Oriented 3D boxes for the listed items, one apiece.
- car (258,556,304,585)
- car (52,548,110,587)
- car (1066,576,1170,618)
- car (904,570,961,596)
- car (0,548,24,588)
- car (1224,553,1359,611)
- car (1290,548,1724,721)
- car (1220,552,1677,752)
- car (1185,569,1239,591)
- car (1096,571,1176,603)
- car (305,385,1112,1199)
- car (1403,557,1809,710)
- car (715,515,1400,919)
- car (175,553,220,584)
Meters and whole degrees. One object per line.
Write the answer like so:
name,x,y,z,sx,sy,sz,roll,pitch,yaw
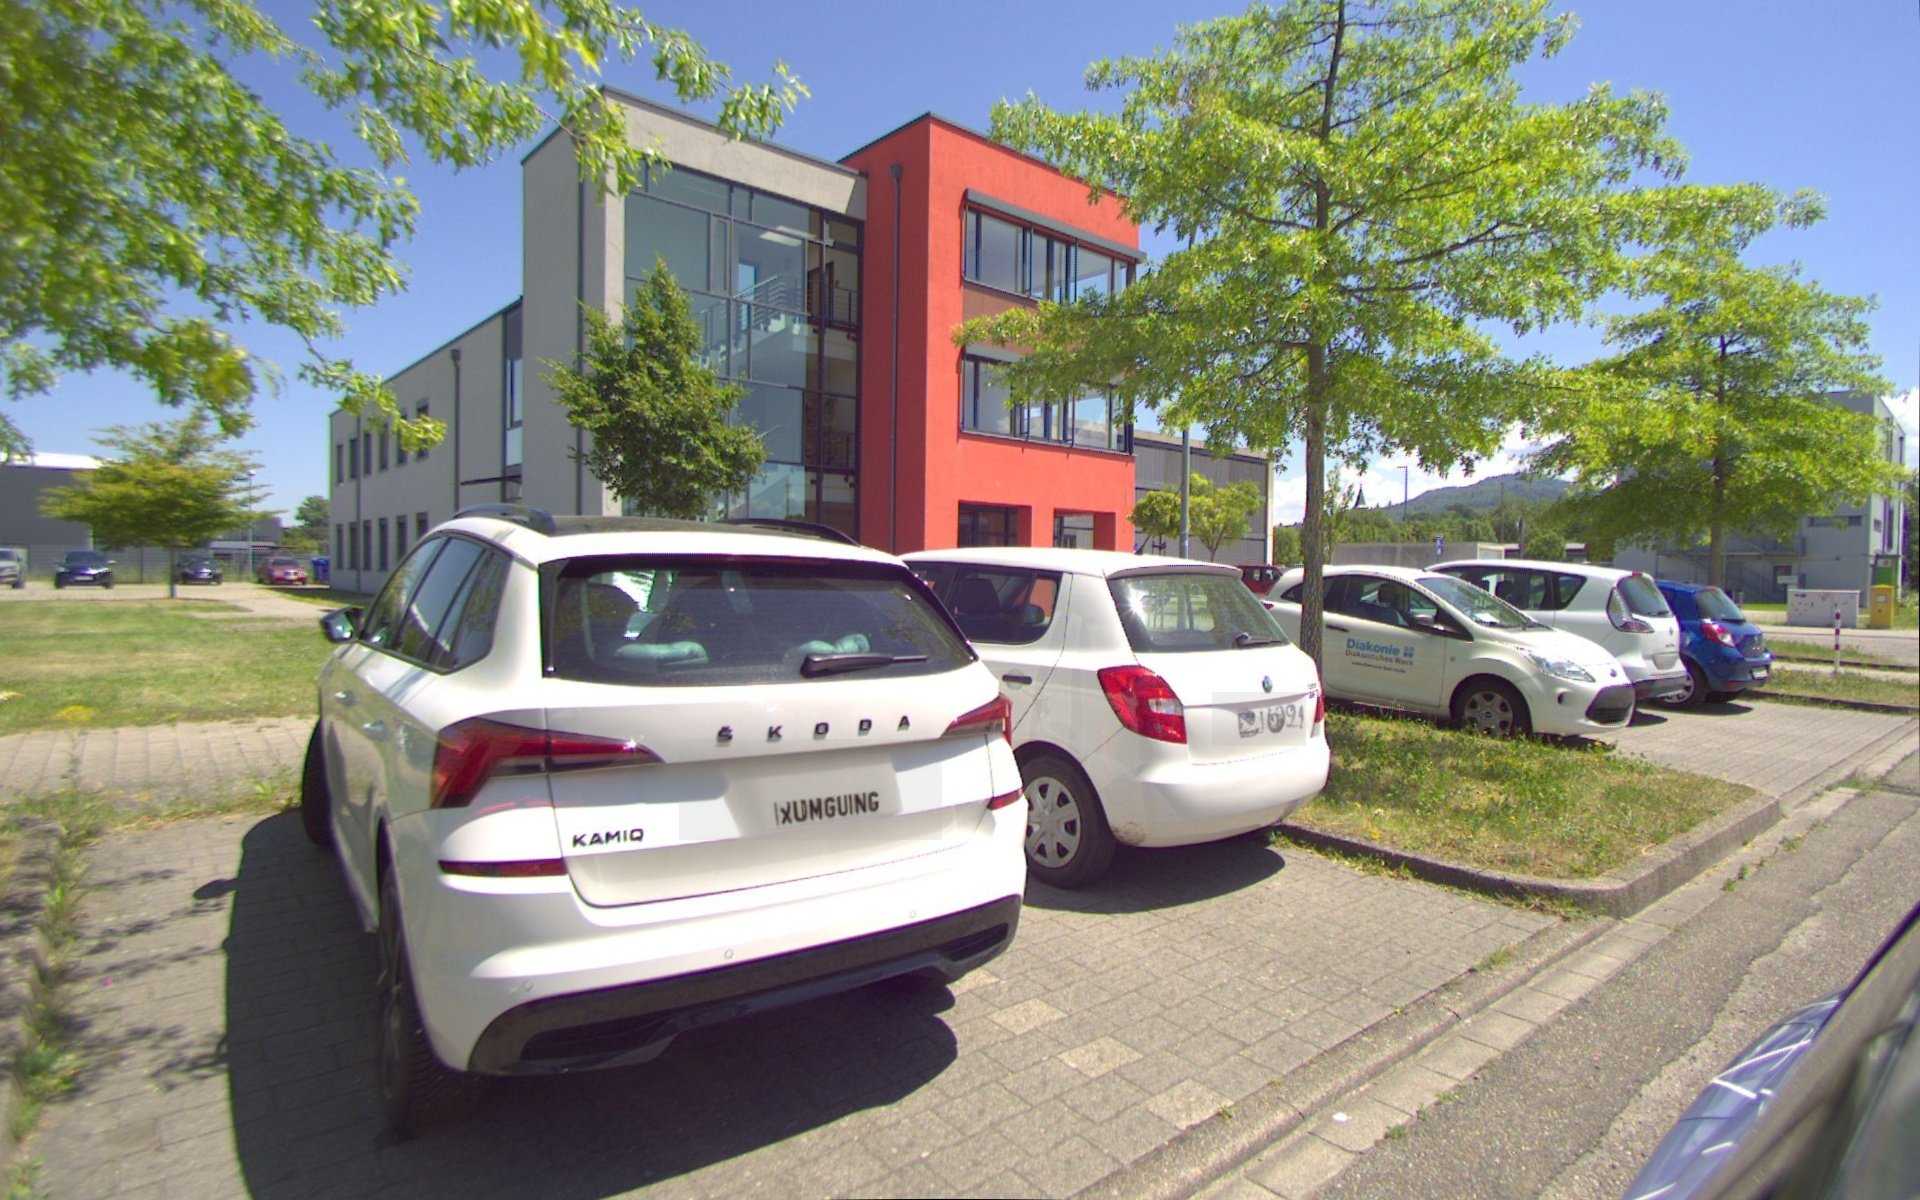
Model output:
car,-36.768,-1.622,54.784,1.689,1.528,3.996,-1,2,-40
car,-35.574,-1.336,40.969,1.689,1.528,3.994,-1,2,-41
car,6.159,-0.145,39.756,1.757,1.460,3.700,3,0,-43
car,-1.723,-1.072,62.823,1.631,1.487,3.622,-4,4,-41
car,-37.797,-1.284,39.524,1.689,1.528,3.994,-1,2,-41
car,11.177,-0.599,34.285,1.778,1.798,3.994,2,-1,-40
car,6.202,0.255,11.915,1.741,1.671,4.121,0,2,-38
car,4.514,0.341,9.798,1.581,1.481,3.628,0,3,-38
car,18.709,-1.506,75.097,1.630,1.519,3.624,-4,4,-40
car,8.613,-0.668,49.736,1.631,1.487,3.622,-4,4,-41
car,-1.403,0.334,3.881,1.745,1.572,3.849,1,2,-35
car,8.100,0.298,13.051,1.695,1.508,4.011,0,4,-36
car,0.255,0.359,5.896,1.748,1.543,3.843,0,3,-40
car,-39.518,-1.663,52.439,1.689,1.528,3.996,-1,2,-40
